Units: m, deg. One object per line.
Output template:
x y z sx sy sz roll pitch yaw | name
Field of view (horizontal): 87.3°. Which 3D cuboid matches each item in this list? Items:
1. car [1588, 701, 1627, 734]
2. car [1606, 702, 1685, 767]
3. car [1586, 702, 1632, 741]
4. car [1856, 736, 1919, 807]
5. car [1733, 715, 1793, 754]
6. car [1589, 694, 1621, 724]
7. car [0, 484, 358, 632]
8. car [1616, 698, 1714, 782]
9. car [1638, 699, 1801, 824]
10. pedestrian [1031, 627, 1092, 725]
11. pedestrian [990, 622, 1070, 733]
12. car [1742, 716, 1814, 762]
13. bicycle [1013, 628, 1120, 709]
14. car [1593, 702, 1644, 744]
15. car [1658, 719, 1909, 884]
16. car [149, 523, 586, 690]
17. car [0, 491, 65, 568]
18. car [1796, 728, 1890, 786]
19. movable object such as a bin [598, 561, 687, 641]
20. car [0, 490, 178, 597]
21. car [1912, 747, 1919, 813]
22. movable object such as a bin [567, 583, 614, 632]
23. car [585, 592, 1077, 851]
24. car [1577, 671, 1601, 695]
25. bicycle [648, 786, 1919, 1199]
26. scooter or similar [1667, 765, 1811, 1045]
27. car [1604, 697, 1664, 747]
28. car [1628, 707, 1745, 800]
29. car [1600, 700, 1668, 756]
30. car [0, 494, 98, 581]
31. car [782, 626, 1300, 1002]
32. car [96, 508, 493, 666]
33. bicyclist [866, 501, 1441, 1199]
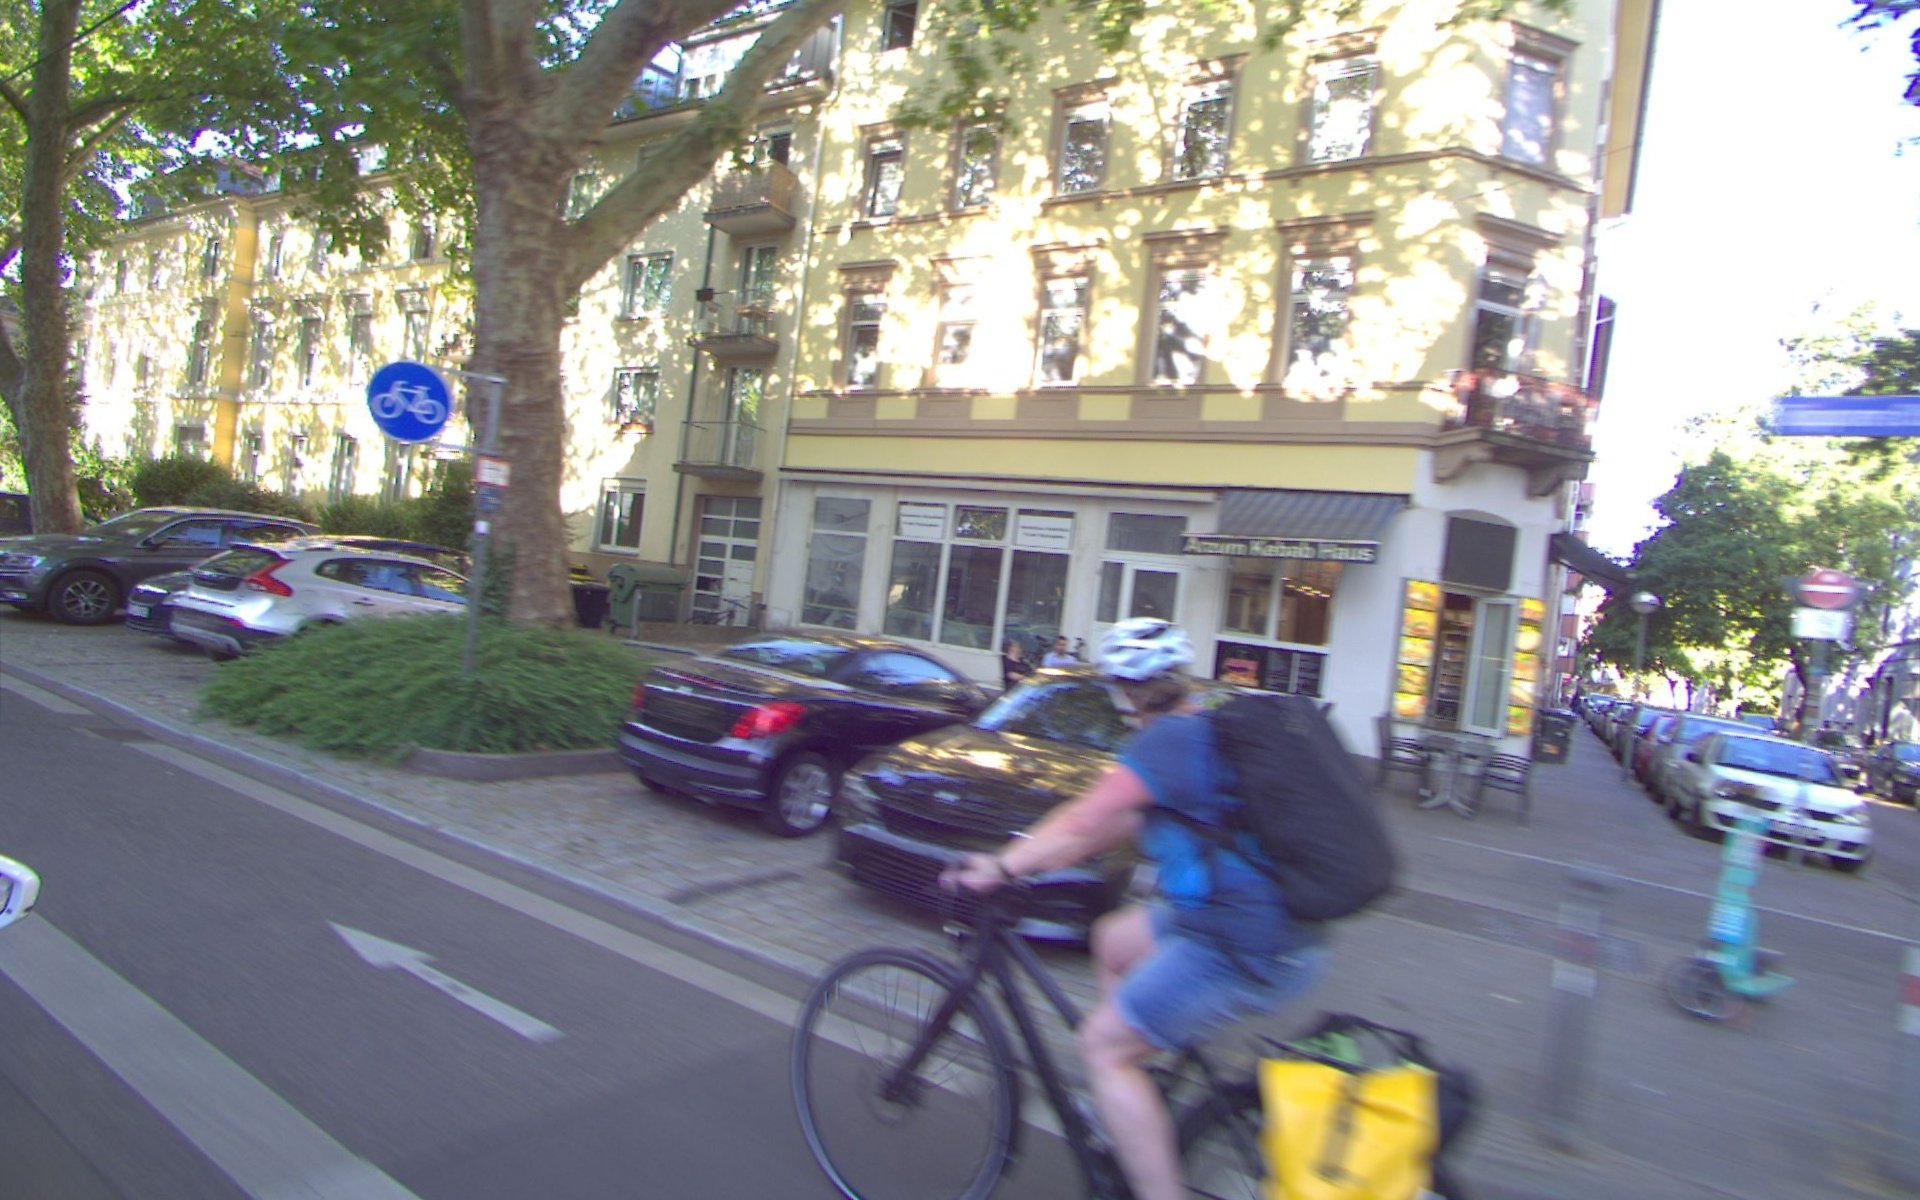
37.032 6.696 57.564 1.627 1.508 3.412 9 0 33 | car
20.332 3.949 29.936 1.627 1.508 3.412 9 0 33 | car
31.520 5.868 48.890 1.627 1.508 3.412 9 0 33 | car
24.717 4.437 25.914 1.825 1.548 3.990 4 -3 34 | car
38.040 6.338 47.754 1.825 1.548 3.861 4 -3 34 | car
45.620 7.727 71.209 1.627 1.798 3.413 9 0 32 | car
-11.387 -0.539 14.461 1.817 1.741 4.266 7 1 30 | car
17.815 3.477 25.567 1.627 1.678 4.136 9 0 33 | car
13.047 2.690 17.508 1.663 1.636 3.683 9 0 31 | car
1.484 1.102 14.756 0.480 1.344 0.683 7 0 -21 | pedestrian
0.960 1.056 13.968 0.480 1.392 1.049 7 0 -27 | pedestrian
33.403 5.647 41.171 1.825 1.548 3.861 4 -3 34 | car
1.841 1.177 17.616 1.717 1.171 0.470 8 2 32 | bicycle
28.950 5.378 44.310 1.627 1.508 3.412 9 0 33 | car
10.558 2.483 13.205 1.662 1.428 3.685 9 0 28 | car
-6.662 0.164 11.787 1.653 1.498 4.033 7 0 30 | car
-21.496 -1.639 21.125 1.666 1.543 3.672 7 2 32 | car
30.351 5.352 34.695 1.825 1.548 3.990 4 -3 34 | car
-6.385 0.033 20.281 1.099 1.456 1.168 7 1 32 | movable object such as a bin
-16.783 -1.074 18.329 1.516 1.618 3.600 6 -1 32 | car
22.168 4.095 21.650 1.826 1.484 3.988 3 -3 36 | car
-7.815 0.166 21.292 0.458 0.955 0.748 7 1 32 | movable object such as a bin
-0.813 0.955 8.534 1.655 1.509 4.097 7 -1 36 | car
53.533 7.097 85.666 1.477 1.798 3.413 9 0 32 | car
0.460 1.161 2.197 2.470 1.015 0.596 7 -3 32 | bicycle
4.210 1.559 5.405 0.337 1.271 1.304 7 0 45 | scooter or similar
25.577 4.610 38.255 1.627 1.508 3.412 9 0 33 | car
15.360 3.184 21.431 1.627 1.508 3.412 9 0 33 | car
22.791 4.285 34.104 1.627 1.508 3.412 9 0 33 | car
-19.143 -1.339 19.264 1.666 1.537 3.598 7 1 32 | car
0.888 1.143 6.790 1.800 1.509 4.104 7 -1 29 | car
-8.674 -0.073 13.498 1.653 1.663 4.034 7 0 30 | car
0.460 0.639 2.293 0.920 1.567 0.616 7 -5 32 | bicyclist
